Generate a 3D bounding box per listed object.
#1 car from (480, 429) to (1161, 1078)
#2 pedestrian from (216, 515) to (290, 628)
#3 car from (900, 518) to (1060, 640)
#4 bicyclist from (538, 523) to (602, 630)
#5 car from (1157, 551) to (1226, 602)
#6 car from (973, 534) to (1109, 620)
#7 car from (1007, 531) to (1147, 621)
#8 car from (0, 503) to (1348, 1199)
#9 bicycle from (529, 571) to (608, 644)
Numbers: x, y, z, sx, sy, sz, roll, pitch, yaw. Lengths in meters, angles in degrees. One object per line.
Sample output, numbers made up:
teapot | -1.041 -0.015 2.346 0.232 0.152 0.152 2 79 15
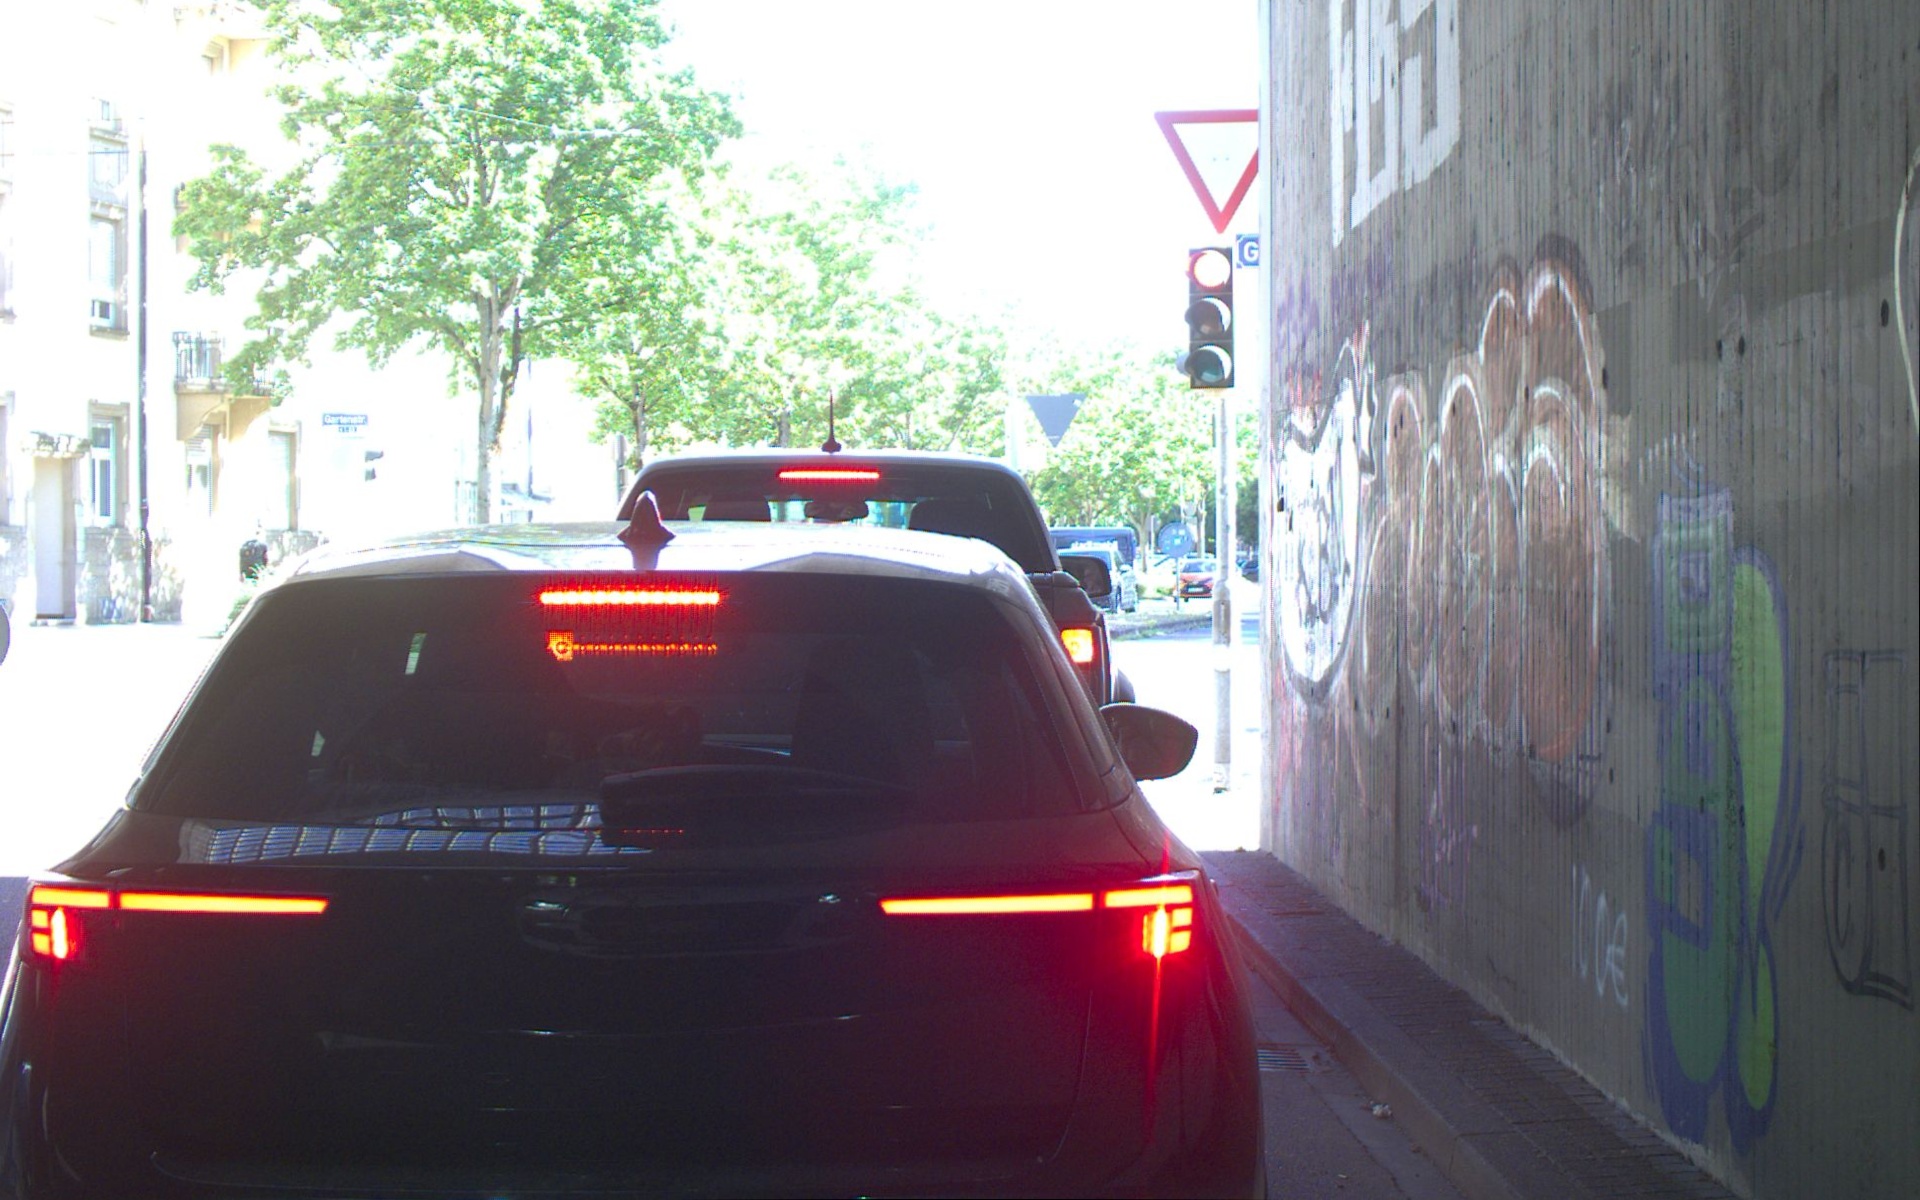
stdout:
car | -0.422 0.404 11.881 1.945 1.853 3.964 0 1 -1
pedestrian | -12.737 -0.516 61.984 0.992 2.007 1.088 0 1 8
car | 0.293 -0.241 44.163 1.968 1.492 3.896 0 -1 1
bicyclist | -5.843 -0.358 51.531 0.729 1.576 0.814 1 0 9
car | 7.840 -0.806 116.116 1.994 1.656 3.999 1 1 8
car | 1.504 -0.393 62.184 1.969 1.492 3.895 0 -1 9
car | 2.390 -0.449 68.994 2.221 1.713 4.458 0 -1 10
car | -0.503 0.622 6.060 1.882 1.532 3.964 0 1 -1
bicycle | -5.861 0.098 51.506 0.732 1.064 1.688 1 1 9
